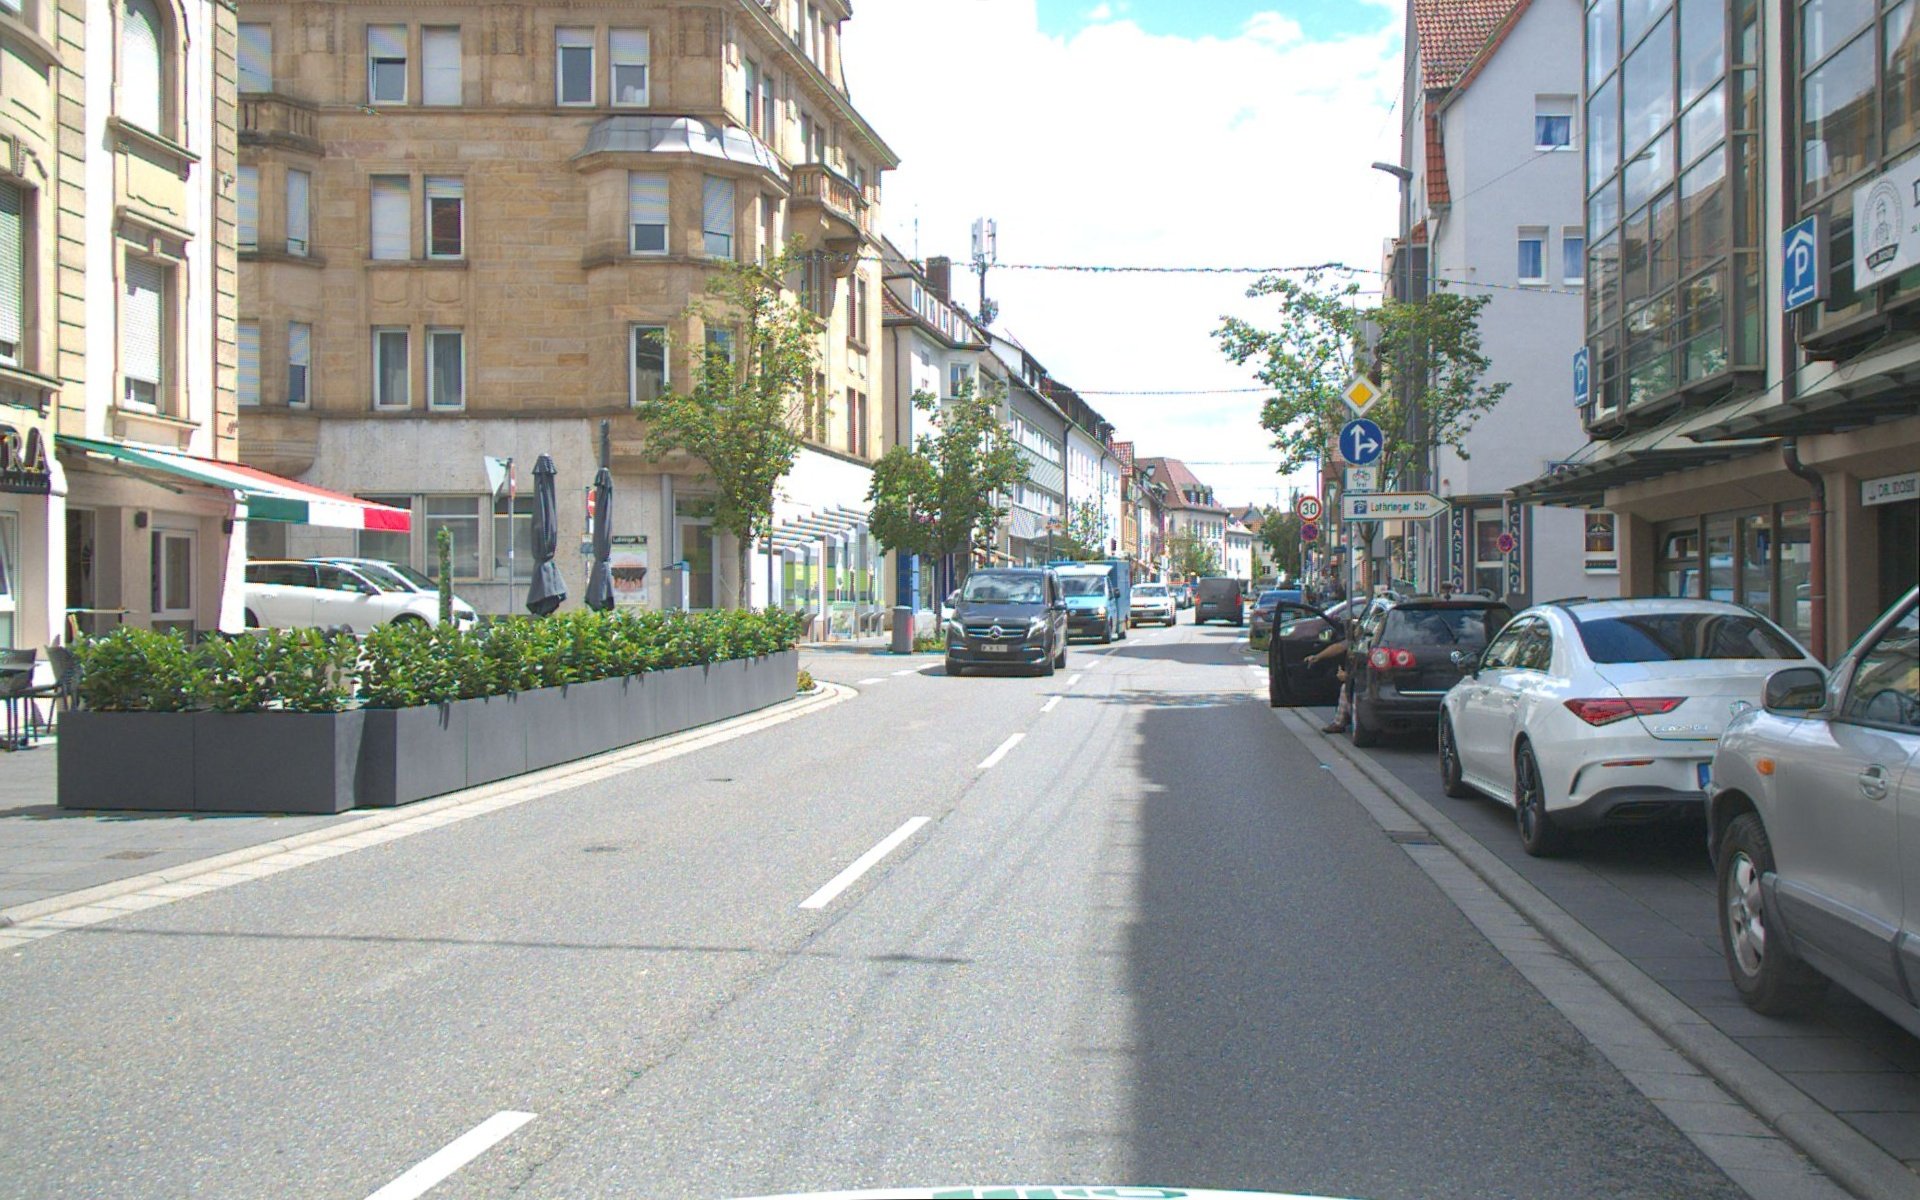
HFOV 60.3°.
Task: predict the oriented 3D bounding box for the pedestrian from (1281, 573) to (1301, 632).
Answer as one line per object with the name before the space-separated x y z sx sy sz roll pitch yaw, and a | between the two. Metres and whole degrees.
pedestrian | 11.607 0.096 58.045 0.667 2.049 0.599 1 0 11

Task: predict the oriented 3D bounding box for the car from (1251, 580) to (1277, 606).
car | 28.427 -0.671 154.458 2.021 2.341 4.227 1 0 15

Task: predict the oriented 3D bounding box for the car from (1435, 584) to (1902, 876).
car | 4.189 0.648 10.509 1.587 1.459 4.243 -2 0 7

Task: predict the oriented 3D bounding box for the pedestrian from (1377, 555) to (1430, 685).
pedestrian | 7.107 0.313 26.503 0.674 2.049 0.724 0 0 3

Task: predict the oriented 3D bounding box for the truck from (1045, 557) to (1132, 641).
truck | 3.677 -0.057 46.442 2.021 2.203 5.299 0 1 9

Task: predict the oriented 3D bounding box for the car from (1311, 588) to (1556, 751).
car | 4.709 0.615 17.009 1.572 1.459 4.176 0 1 4

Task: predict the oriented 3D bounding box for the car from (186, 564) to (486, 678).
car | -10.299 0.344 27.634 4.336 1.807 1.996 0 0 -9

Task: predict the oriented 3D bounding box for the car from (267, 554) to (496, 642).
car | -11.579 -0.038 33.287 3.904 1.691 1.910 0 0 2

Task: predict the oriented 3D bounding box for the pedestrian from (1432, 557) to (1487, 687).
pedestrian | 8.018 0.349 26.570 0.674 2.049 0.724 0 0 3

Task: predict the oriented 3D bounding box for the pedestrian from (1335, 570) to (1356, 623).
pedestrian | 15.012 -0.148 64.393 0.668 2.049 0.599 1 0 5

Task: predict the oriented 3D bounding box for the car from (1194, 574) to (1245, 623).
car | 10.505 -0.078 66.713 1.929 1.908 5.042 0 1 10

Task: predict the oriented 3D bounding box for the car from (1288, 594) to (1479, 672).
car | 8.531 0.662 33.528 3.544 1.438 1.591 2 0 6

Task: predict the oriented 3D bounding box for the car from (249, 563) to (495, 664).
car | -10.700 0.246 30.381 3.913 1.780 1.996 0 0 -9

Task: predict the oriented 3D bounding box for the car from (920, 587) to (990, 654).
car | -0.088 0.531 45.794 1.674 1.742 4.002 0 1 3

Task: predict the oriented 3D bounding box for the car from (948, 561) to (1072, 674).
car | 0.994 0.287 30.014 1.796 1.867 4.573 0 0 7

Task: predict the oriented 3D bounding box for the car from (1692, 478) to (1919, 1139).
car | 3.449 0.543 4.375 1.785 1.761 4.237 -1 0 10

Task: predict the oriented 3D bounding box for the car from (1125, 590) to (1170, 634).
car | 7.193 0.454 63.533 1.661 1.612 3.960 0 0 6

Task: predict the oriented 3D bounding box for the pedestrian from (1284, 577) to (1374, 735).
pedestrian | 3.906 0.582 17.501 0.655 1.622 0.673 1 -1 44

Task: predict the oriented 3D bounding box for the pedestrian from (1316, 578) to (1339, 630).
pedestrian | 13.765 0.163 61.959 0.562 1.923 0.642 2 -1 -19

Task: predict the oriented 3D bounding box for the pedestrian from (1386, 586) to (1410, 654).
pedestrian | 12.579 0.563 47.512 0.581 1.923 0.573 1 -1 9

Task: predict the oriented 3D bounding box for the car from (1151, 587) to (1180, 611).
car | 14.208 -0.080 114.612 1.951 1.612 4.003 0 0 6

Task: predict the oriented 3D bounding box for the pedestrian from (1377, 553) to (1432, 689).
pedestrian | 6.809 0.310 25.354 0.674 2.049 0.724 0 0 3

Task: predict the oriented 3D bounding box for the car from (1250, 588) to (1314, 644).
car | 8.723 0.408 44.980 1.488 1.459 3.373 0 1 7
